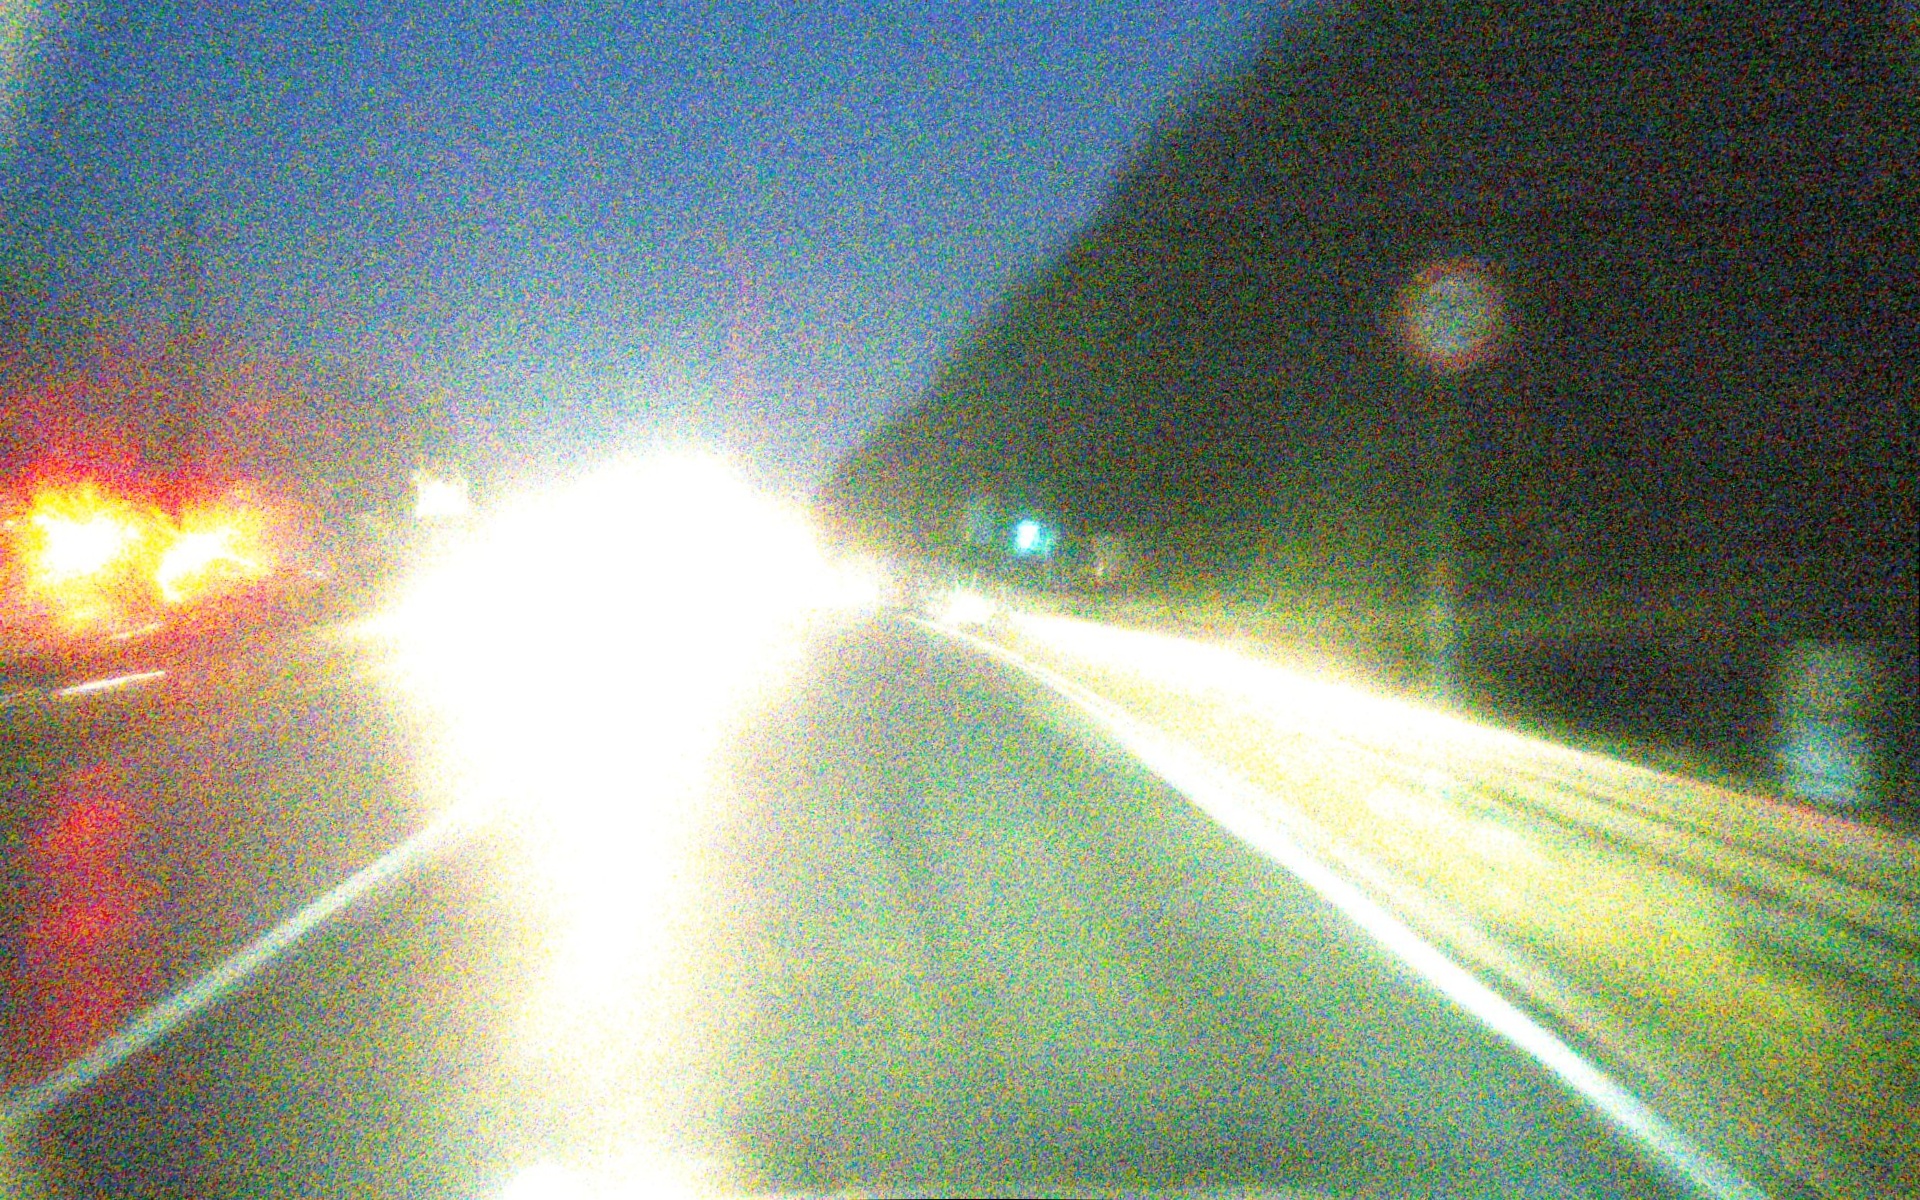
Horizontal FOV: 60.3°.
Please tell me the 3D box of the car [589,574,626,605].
[{"bbox_3d":[-18.984,-0.575,89.292,1.847,1.628,3.889,1,0,-11],"label":"car"}]
